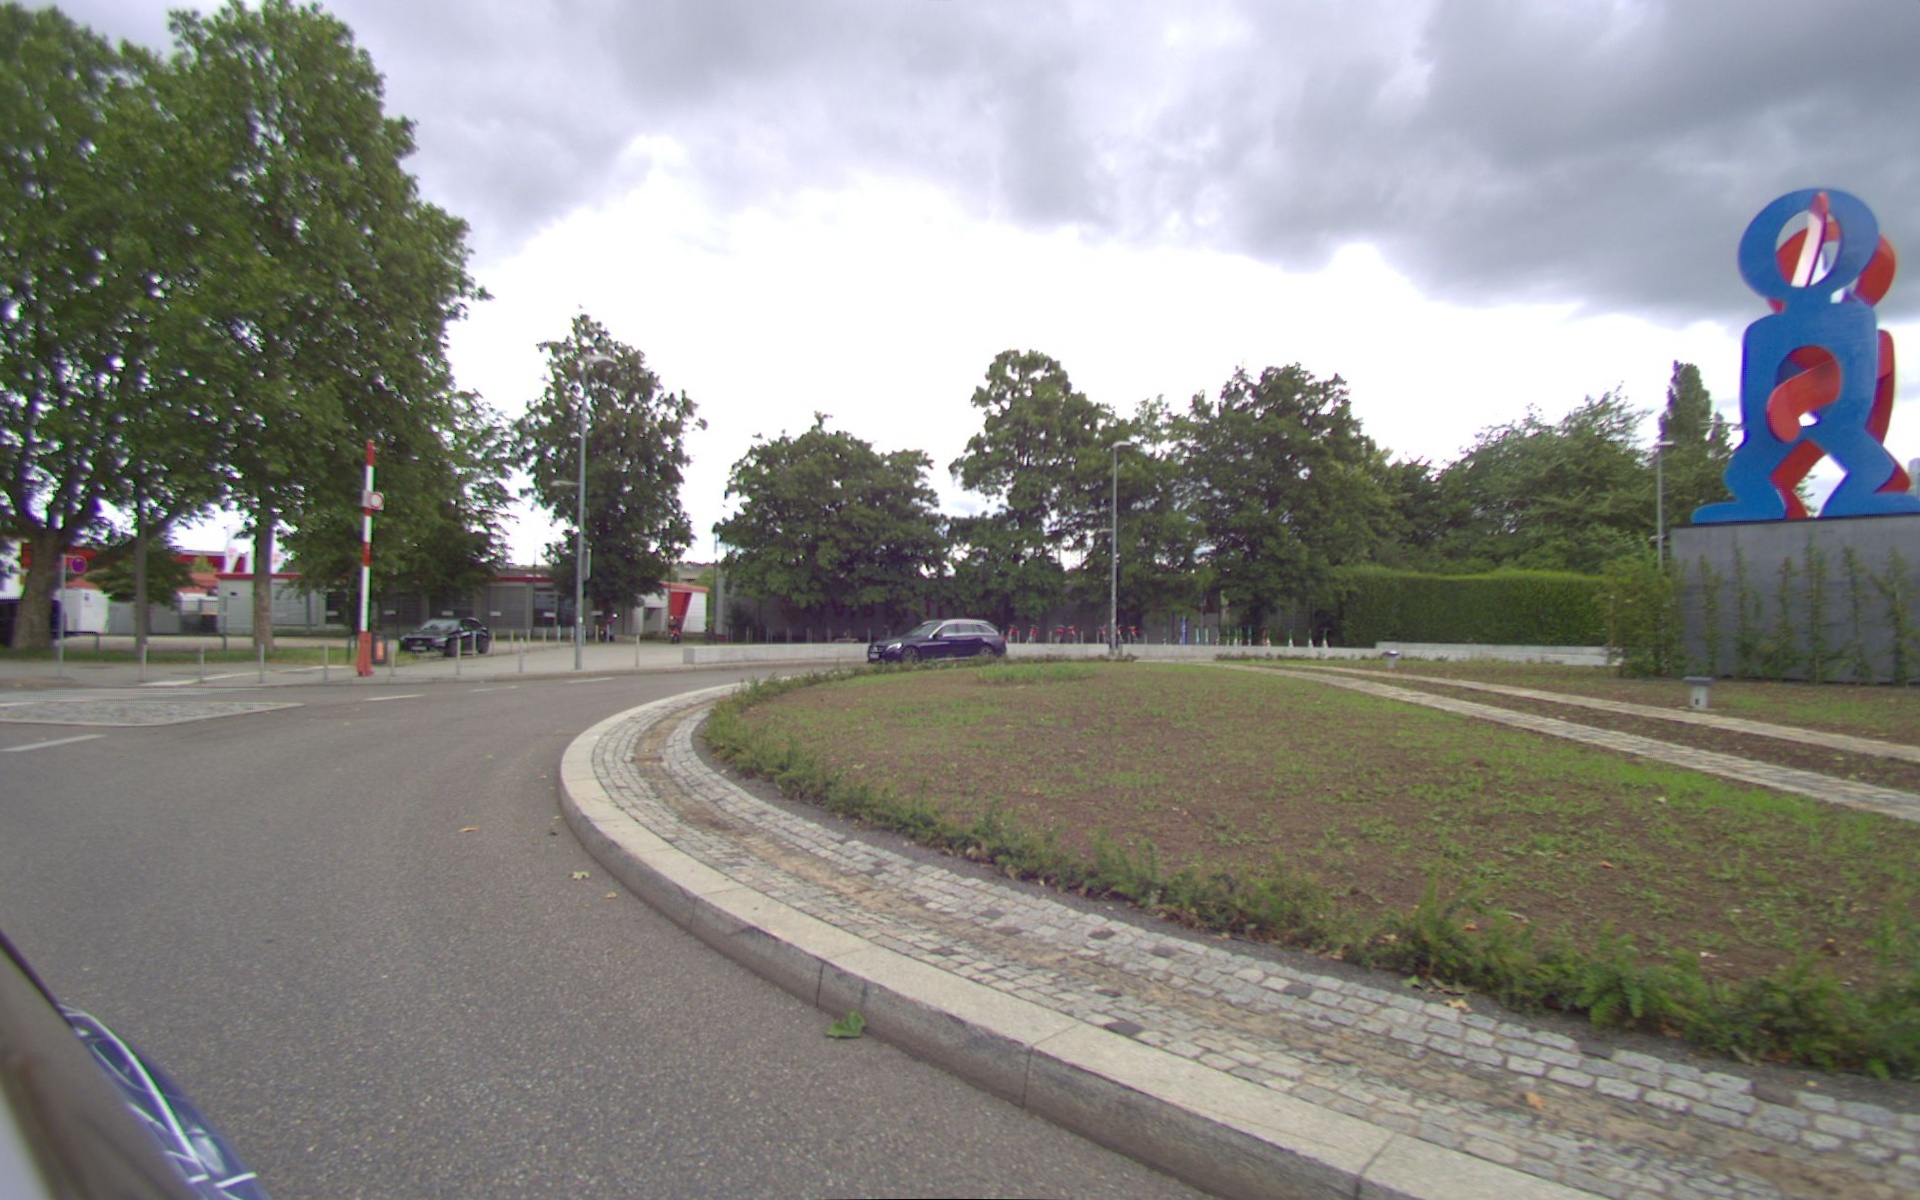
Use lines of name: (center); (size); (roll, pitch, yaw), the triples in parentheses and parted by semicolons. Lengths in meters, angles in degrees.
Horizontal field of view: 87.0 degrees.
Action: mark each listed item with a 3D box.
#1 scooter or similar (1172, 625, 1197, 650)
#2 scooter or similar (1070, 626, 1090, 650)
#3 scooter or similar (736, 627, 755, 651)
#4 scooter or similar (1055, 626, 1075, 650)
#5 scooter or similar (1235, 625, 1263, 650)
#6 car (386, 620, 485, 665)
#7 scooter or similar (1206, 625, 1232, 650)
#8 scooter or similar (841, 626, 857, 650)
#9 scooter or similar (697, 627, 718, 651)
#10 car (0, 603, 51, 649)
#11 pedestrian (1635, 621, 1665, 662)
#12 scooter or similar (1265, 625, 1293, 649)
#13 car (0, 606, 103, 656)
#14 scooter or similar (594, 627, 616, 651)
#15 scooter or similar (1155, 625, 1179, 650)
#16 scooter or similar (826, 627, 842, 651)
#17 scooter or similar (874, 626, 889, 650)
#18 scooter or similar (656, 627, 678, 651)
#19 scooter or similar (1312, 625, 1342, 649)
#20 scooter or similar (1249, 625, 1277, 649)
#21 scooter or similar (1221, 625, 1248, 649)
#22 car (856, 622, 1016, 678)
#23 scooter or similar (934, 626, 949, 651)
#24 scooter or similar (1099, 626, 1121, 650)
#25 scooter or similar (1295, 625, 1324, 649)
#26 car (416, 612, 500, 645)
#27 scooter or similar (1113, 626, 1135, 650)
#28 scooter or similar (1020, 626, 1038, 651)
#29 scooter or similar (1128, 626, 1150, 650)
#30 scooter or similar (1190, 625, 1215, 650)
scooter or similar: (10.711, 1.782, 48.367); (0.631, 1.117, 1.977); (0, -1, -3)
scooter or similar: (5.693, 1.802, 48.198); (0.631, 1.117, 1.977); (0, -1, -3)
scooter or similar: (-10.525, 1.906, 49.751); (0.631, 1.117, 1.977); (0, -1, -3)
scooter or similar: (4.984, 1.804, 48.154); (0.631, 1.117, 1.977); (0, -1, -3)
scooter or similar: (13.825, 1.776, 48.455); (0.631, 1.117, 1.977); (0, -1, -3)
car: (-19.287, 1.524, 37.397); (1.754, 1.536, 3.827); (0, -1, -1)
scooter or similar: (12.367, 1.776, 48.419); (0.631, 1.117, 1.977); (0, -1, -3)
scooter or similar: (-5.381, 1.854, 49.246); (0.631, 1.117, 1.977); (0, -1, -3)
scooter or similar: (-12.355, 1.907, 49.611); (0.631, 1.117, 1.977); (0, -1, -3)
car: (-37.166, 0.995, 37.904); (1.983, 1.741, 4.813); (0, -1, -1)
pedestrian: (31.174, 1.871, 45.732); (0.857, 1.821, 0.790); (0, -1, 11)
scooter or similar: (15.269, 1.773, 48.514); (0.631, 1.117, 1.977); (0, -1, -3)
car: (-34.317, 1.112, 37.257); (1.983, 1.741, 4.293); (0, -1, -2)
scooter or similar: (-17.661, 1.929, 50.347); (0.537, 1.103, 1.811); (0, -1, -3)
scooter or similar: (9.868, 1.785, 48.318); (0.631, 1.117, 1.977); (0, -1, -3)
scooter or similar: (-6.104, 1.871, 49.233); (0.631, 1.117, 1.977); (0, -1, -3)
scooter or similar: (-3.843, 1.871, 49.664); (0.631, 1.117, 1.977); (0, -1, -3)
scooter or similar: (-14.409, 1.919, 49.826); (0.631, 1.117, 1.977); (0, -1, -3)
scooter or similar: (17.614, 1.760, 48.624); (0.631, 1.117, 1.977); (0, -1, -3)
scooter or similar: (14.516, 1.773, 48.492); (0.631, 1.117, 1.977); (0, -1, -3)
scooter or similar: (13.126, 1.773, 48.415); (0.631, 1.117, 1.977); (0, -1, -3)
car: (-0.712, 1.488, 31.297); (4.647, 1.576, 1.802); (0, -1, -31)
scooter or similar: (-0.889, 1.839, 48.428); (0.631, 1.117, 1.977); (0, -1, -3)
scooter or similar: (7.130, 1.799, 48.238); (0.631, 1.117, 1.977); (0, -1, -3)
scooter or similar: (16.782, 1.763, 48.604); (0.631, 1.117, 1.977); (0, -1, -3)
car: (-26.508, 1.490, 53.392); (4.417, 1.664, 1.779); (-1, -1, 29)
scooter or similar: (7.831, 1.797, 48.269); (0.631, 1.117, 1.977); (0, -1, -3)
scooter or similar: (3.281, 1.812, 48.189); (0.631, 1.117, 1.977); (0, -1, -3)
scooter or similar: (8.530, 1.794, 48.296); (0.631, 1.117, 1.977); (0, -1, -3)
scooter or similar: (11.570, 1.779, 48.402); (0.631, 1.117, 1.977); (0, -1, -3)
